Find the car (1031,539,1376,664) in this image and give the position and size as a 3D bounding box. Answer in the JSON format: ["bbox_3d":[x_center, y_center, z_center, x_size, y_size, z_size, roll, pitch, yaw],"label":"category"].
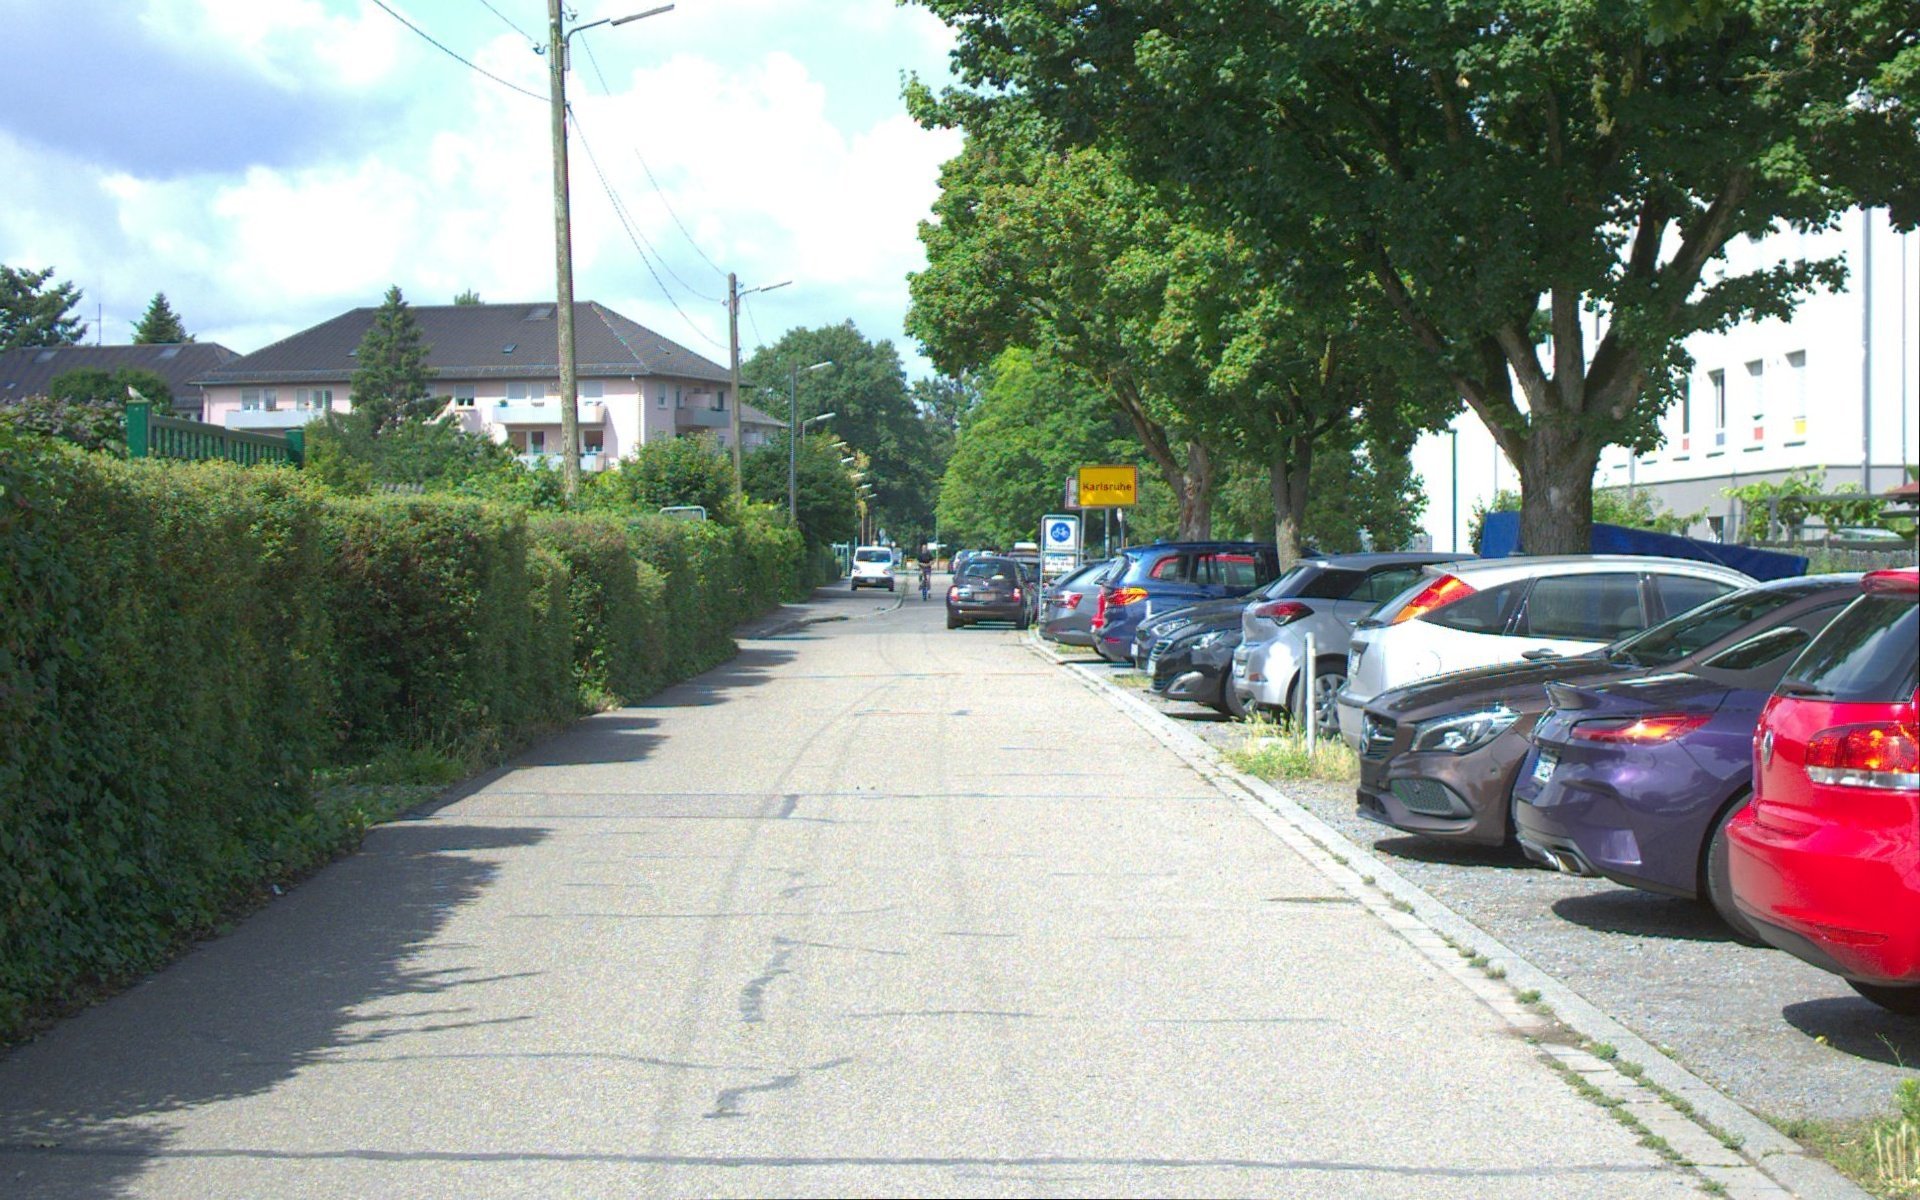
[{"bbox_3d":[3.320,0.013,47.430,4.548,1.573,1.809,1,0,-2],"label":"car"}]

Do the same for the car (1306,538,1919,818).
[{"bbox_3d":[4.184,0.445,20.527,4.065,1.506,1.957,1,0,2],"label":"car"}]

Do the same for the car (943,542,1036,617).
[{"bbox_3d":[0.641,-0.431,72.149,1.663,1.501,3.999,1,0,4],"label":"car"}]

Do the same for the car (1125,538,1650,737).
[{"bbox_3d":[3.681,0.311,30.190,4.302,1.588,2.000,1,0,-1],"label":"car"}]

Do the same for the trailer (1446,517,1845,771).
[{"bbox_3d":[4.890,0.292,24.725,2.449,1.714,1.518,1,1,-4],"label":"trailer"}]

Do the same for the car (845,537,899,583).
[{"bbox_3d":[-3.587,-1.642,140.667,1.903,1.808,4.000,1,0,2],"label":"car"}]

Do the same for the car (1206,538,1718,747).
[{"bbox_3d":[3.971,0.328,27.608,3.723,1.535,1.850,1,0,-4],"label":"car"}]

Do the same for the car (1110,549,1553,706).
[{"bbox_3d":[3.803,0.275,35.760,4.335,1.487,1.976,1,0,-1],"label":"car"}]

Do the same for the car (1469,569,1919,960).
[{"bbox_3d":[4.125,0.636,13.754,3.910,1.419,1.957,1,0,2],"label":"car"}]

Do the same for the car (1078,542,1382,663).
[{"bbox_3d":[3.498,0.029,45.021,3.809,1.527,1.762,0,0,0],"label":"car"}]

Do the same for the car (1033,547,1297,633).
[{"bbox_3d":[3.459,-0.165,58.024,4.359,1.387,1.718,-1,0,4],"label":"car"}]

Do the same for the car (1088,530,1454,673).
[{"bbox_3d":[3.649,0.015,40.836,4.154,1.632,1.879,0,0,0],"label":"car"}]

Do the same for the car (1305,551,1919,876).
[{"bbox_3d":[3.875,0.539,16.920,4.065,1.450,1.870,1,0,-3],"label":"car"}]

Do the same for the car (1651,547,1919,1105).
[{"bbox_3d":[4.229,0.657,10.240,3.987,1.514,1.854,1,0,3],"label":"car"}]

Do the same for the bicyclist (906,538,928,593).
[{"bbox_3d":[-1.470,-1.176,117.861,0.659,1.846,1.043,-1,0,2],"label":"bicyclist"}]
